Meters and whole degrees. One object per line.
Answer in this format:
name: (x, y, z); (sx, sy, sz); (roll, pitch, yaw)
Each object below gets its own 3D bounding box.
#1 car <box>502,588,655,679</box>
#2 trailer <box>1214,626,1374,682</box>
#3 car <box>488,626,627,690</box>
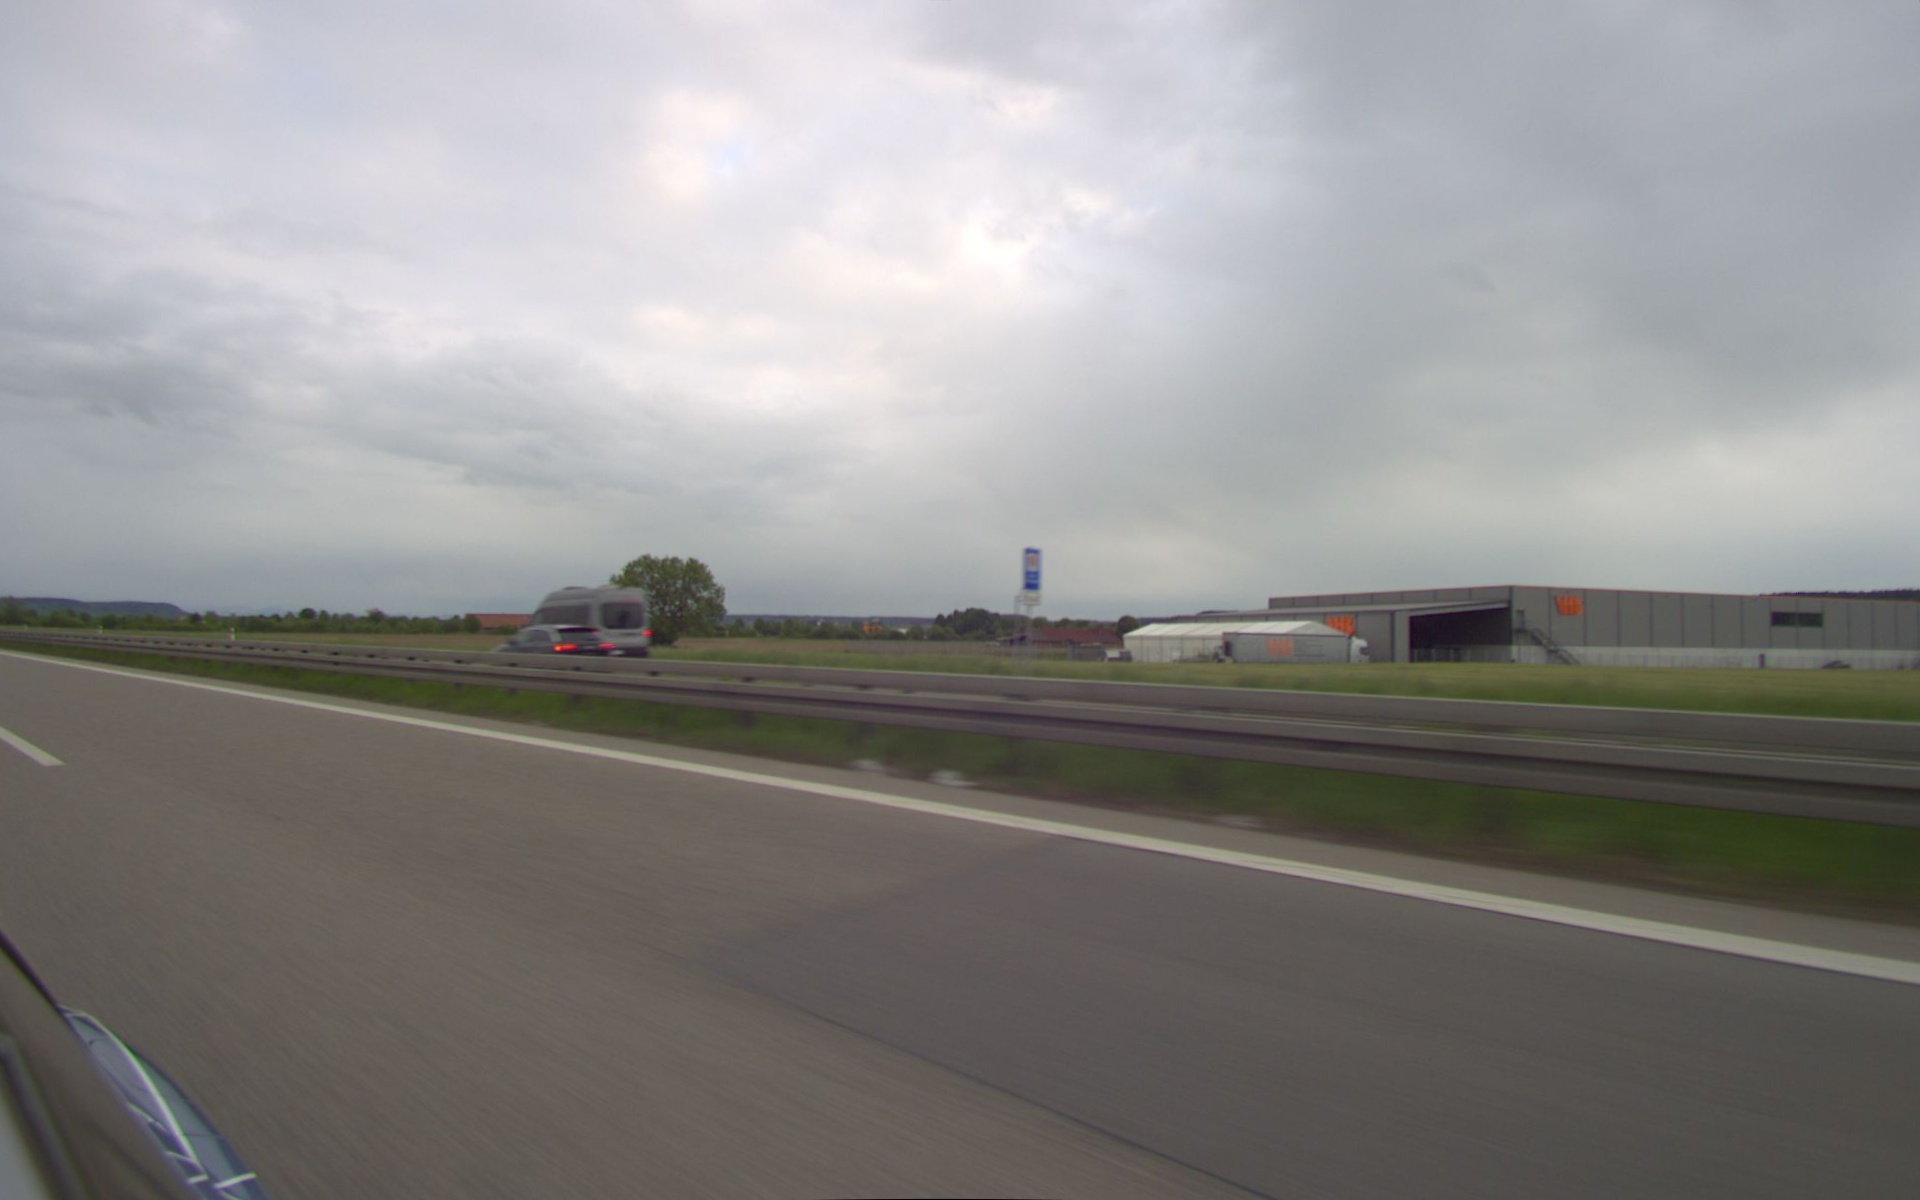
car: (-13.069, 1.097, 34.408); (6.424, 2.822, 2.084); (-1, -1, 41)
trailer: (33.821, 5.509, 102.273); (16.739, 5.174, 3.581); (2, -2, -21)
car: (-10.719, 1.472, 26.808); (4.198, 1.519, 1.729); (-1, -1, 41)
